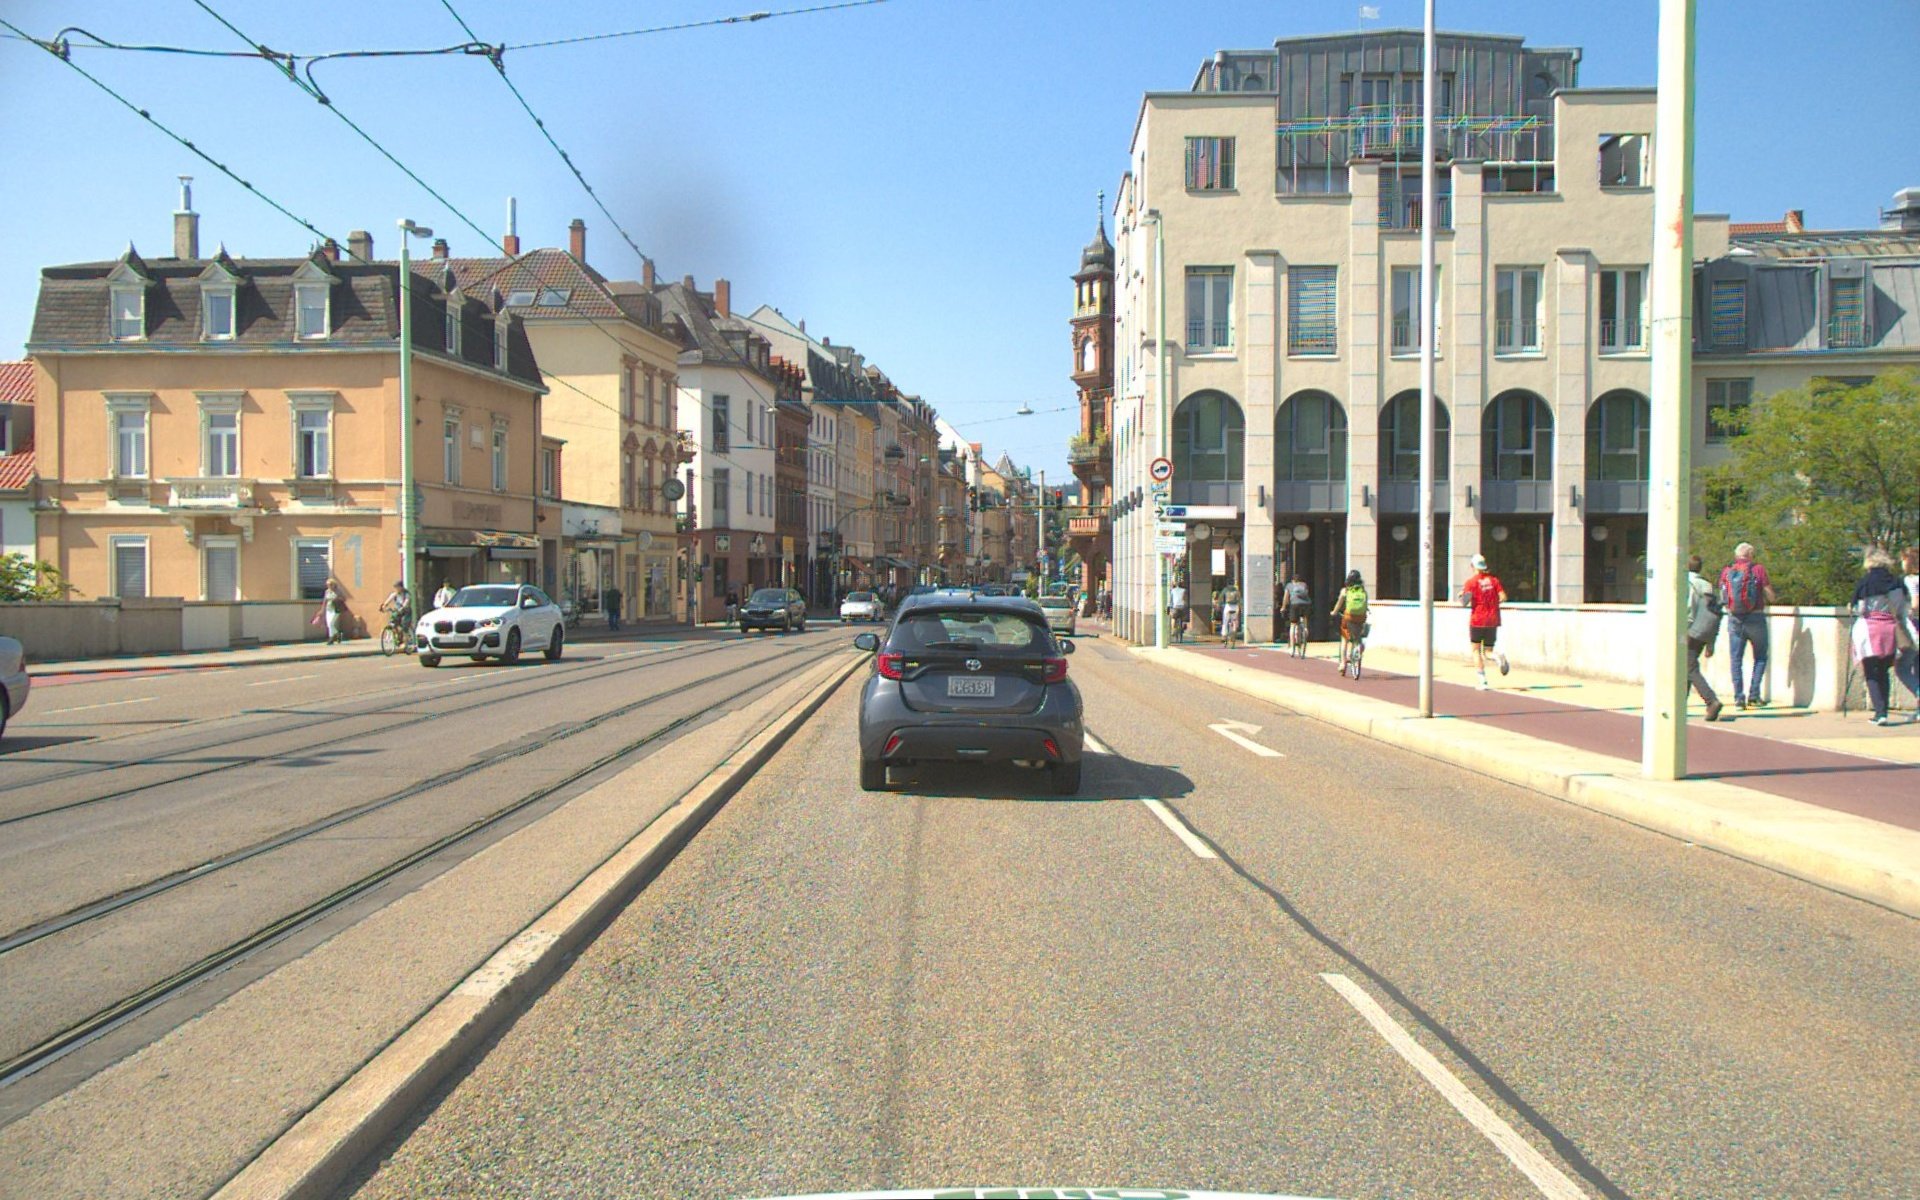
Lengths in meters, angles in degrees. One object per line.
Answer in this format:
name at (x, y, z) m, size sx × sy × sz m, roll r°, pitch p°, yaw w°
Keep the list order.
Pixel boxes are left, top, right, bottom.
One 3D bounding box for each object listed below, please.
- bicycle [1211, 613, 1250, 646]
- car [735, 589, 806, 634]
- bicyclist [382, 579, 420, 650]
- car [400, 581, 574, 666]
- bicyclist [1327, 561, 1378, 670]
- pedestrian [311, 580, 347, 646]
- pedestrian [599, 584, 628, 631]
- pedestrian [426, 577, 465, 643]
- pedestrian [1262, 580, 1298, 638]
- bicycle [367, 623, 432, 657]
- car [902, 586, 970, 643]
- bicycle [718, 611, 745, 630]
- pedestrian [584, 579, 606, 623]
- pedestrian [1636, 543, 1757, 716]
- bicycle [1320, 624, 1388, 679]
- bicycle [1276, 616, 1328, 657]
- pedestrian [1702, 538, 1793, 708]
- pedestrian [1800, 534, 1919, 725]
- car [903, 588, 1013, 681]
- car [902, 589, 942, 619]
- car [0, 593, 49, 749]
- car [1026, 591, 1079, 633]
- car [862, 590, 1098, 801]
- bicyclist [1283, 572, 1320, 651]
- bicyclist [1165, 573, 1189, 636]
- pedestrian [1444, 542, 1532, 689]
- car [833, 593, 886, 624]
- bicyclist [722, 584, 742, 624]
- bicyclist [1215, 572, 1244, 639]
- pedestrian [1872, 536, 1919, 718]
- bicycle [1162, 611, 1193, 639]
bicycle at (6.782, 0.735, 41.531) m, size 0.582 × 0.779 × 1.865 m, roll -1°, pitch 0°, yaw -3°
car at (-6.907, 0.405, 60.601) m, size 1.756 × 1.572 × 3.923 m, roll 0°, pitch 0°, yaw 6°
bicyclist at (-13.517, 0.339, 39.986) m, size 0.614 × 1.679 × 0.622 m, roll 2°, pitch 1°, yaw 8°
car at (-9.636, 0.447, 34.095) m, size 1.951 × 1.614 × 4.655 m, roll 0°, pitch 0°, yaw 4°
bicyclist at (6.156, 0.236, 25.965) m, size 0.592 × 1.679 × 0.702 m, roll -1°, pitch 0°, yaw 0°
pedestrian at (-16.346, 0.329, 42.851) m, size 0.636 × 1.629 × 0.566 m, roll 4°, pitch 2°, yaw -1°
pedestrian at (-12.759, 0.268, 60.974) m, size 0.746 × 1.682 × 0.712 m, roll 4°, pitch 0°, yaw 7°
pedestrian at (-14.520, 0.278, 46.669) m, size 0.721 × 1.796 × 0.787 m, roll 4°, pitch 0°, yaw -1°
pedestrian at (9.439, 0.273, 48.841) m, size 0.724 × 1.642 × 1.015 m, roll 4°, pitch 0°, yaw -1°
bicycle at (-13.533, 0.956, 39.999) m, size 0.607 × 0.728 × 2.047 m, roll 2°, pitch 1°, yaw 8°
car at (-0.708, 0.390, 48.310) m, size 1.859 × 1.557 × 3.999 m, roll 1°, pitch 0°, yaw -1°
bicycle at (-9.828, 0.891, 71.211) m, size 0.607 × 0.728 × 2.047 m, roll 2°, pitch 1°, yaw 8°
pedestrian at (-14.221, 0.031, 64.434) m, size 0.636 × 1.629 × 0.566 m, roll 4°, pitch 2°, yaw -1°
pedestrian at (7.744, 0.299, 17.430) m, size 0.739 × 1.748 × 1.073 m, roll -2°, pitch 0°, yaw -1°
bicycle at (6.164, 0.795, 25.961) m, size 0.581 × 0.779 × 1.866 m, roll -1°, pitch 0°, yaw -1°
bicycle at (6.988, 0.730, 33.853) m, size 0.582 × 0.779 × 1.830 m, roll -1°, pitch 0°, yaw -3°
pedestrian at (8.754, 0.243, 18.377) m, size 0.726 × 1.833 × 1.012 m, roll -1°, pitch 0°, yaw 35°
pedestrian at (8.950, 0.275, 16.338) m, size 0.724 × 1.808 × 1.015 m, roll -2°, pitch 0°, yaw -3°
car at (-0.076, 0.576, 30.210) m, size 1.859 × 1.557 × 3.999 m, roll 1°, pitch 0°, yaw -1°
car at (-2.341, 0.248, 102.852) m, size 1.951 × 1.804 × 4.003 m, roll 1°, pitch 0°, yaw 6°
car at (-9.979, 0.681, 14.382) m, size 1.696 × 1.486 × 4.373 m, roll 0°, pitch 0°, yaw 0°
car at (3.497, 0.437, 63.297) m, size 1.671 × 1.491 × 4.325 m, roll 1°, pitch 0°, yaw -1°
car at (0.109, 0.687, 13.885) m, size 1.685 × 1.499 × 3.657 m, roll 1°, pitch 0°, yaw -1°
bicyclist at (6.980, 0.225, 33.823) m, size 0.575 × 1.586 × 0.701 m, roll -1°, pitch 0°, yaw -3°
bicyclist at (6.489, 0.134, 49.458) m, size 0.575 × 1.852 × 0.701 m, roll -1°, pitch 0°, yaw -3°
pedestrian at (7.235, 0.202, 22.694) m, size 0.794 × 1.958 × 1.127 m, roll -1°, pitch 0°, yaw -1°
car at (-4.910, 0.414, 81.550) m, size 1.951 × 1.457 × 4.003 m, roll 1°, pitch 0°, yaw 6°
bicyclist at (-9.817, 0.168, 71.179) m, size 0.690 × 1.679 × 0.622 m, roll 2°, pitch 1°, yaw 8°
bicyclist at (6.767, 0.134, 41.533) m, size 0.575 × 1.679 × 0.701 m, roll -1°, pitch 0°, yaw -3°
pedestrian at (9.720, 0.255, 16.429) m, size 0.724 × 1.777 × 1.016 m, roll -2°, pitch 0°, yaw -1°
bicycle at (6.498, 0.749, 49.489) m, size 0.582 × 0.779 × 1.865 m, roll -1°, pitch 0°, yaw -3°
